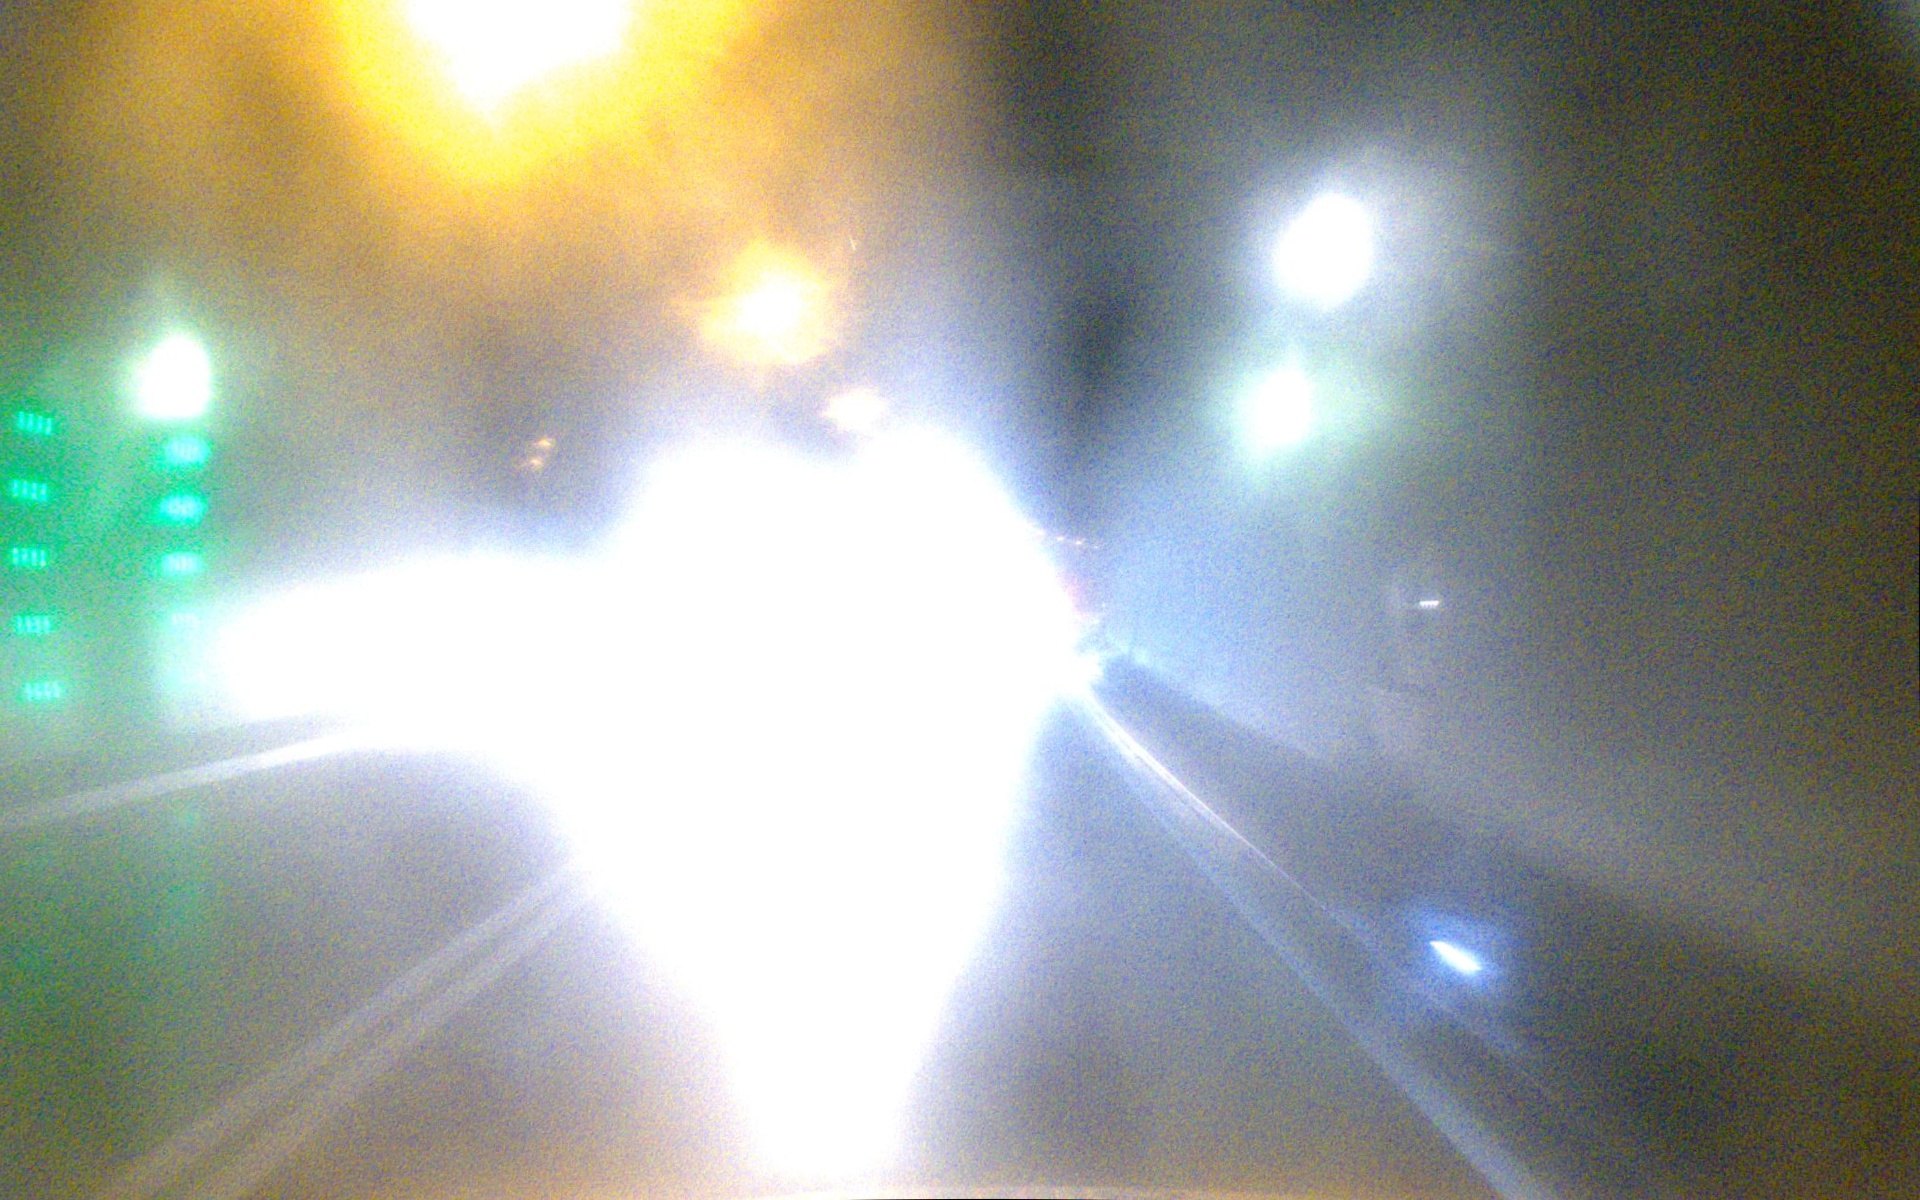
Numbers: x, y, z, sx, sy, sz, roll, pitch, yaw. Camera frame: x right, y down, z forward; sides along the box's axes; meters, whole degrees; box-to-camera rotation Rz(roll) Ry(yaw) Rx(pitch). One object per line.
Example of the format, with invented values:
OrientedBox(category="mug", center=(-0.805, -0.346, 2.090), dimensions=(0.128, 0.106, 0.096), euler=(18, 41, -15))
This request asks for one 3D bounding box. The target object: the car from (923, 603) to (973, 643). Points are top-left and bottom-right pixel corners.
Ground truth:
OrientedBox(category="car", center=(-0.493, 0.882, 65.614), dimensions=(1.809, 1.500, 3.998), euler=(0, 0, -3))

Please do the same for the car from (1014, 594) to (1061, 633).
OrientedBox(category="car", center=(3.566, 0.601, 76.743), dimensions=(1.952, 1.679, 4.000), euler=(1, 0, 0))

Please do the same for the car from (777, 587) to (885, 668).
OrientedBox(category="car", center=(-2.843, 0.581, 37.412), dimensions=(1.952, 1.679, 4.001), euler=(1, 0, 2))
